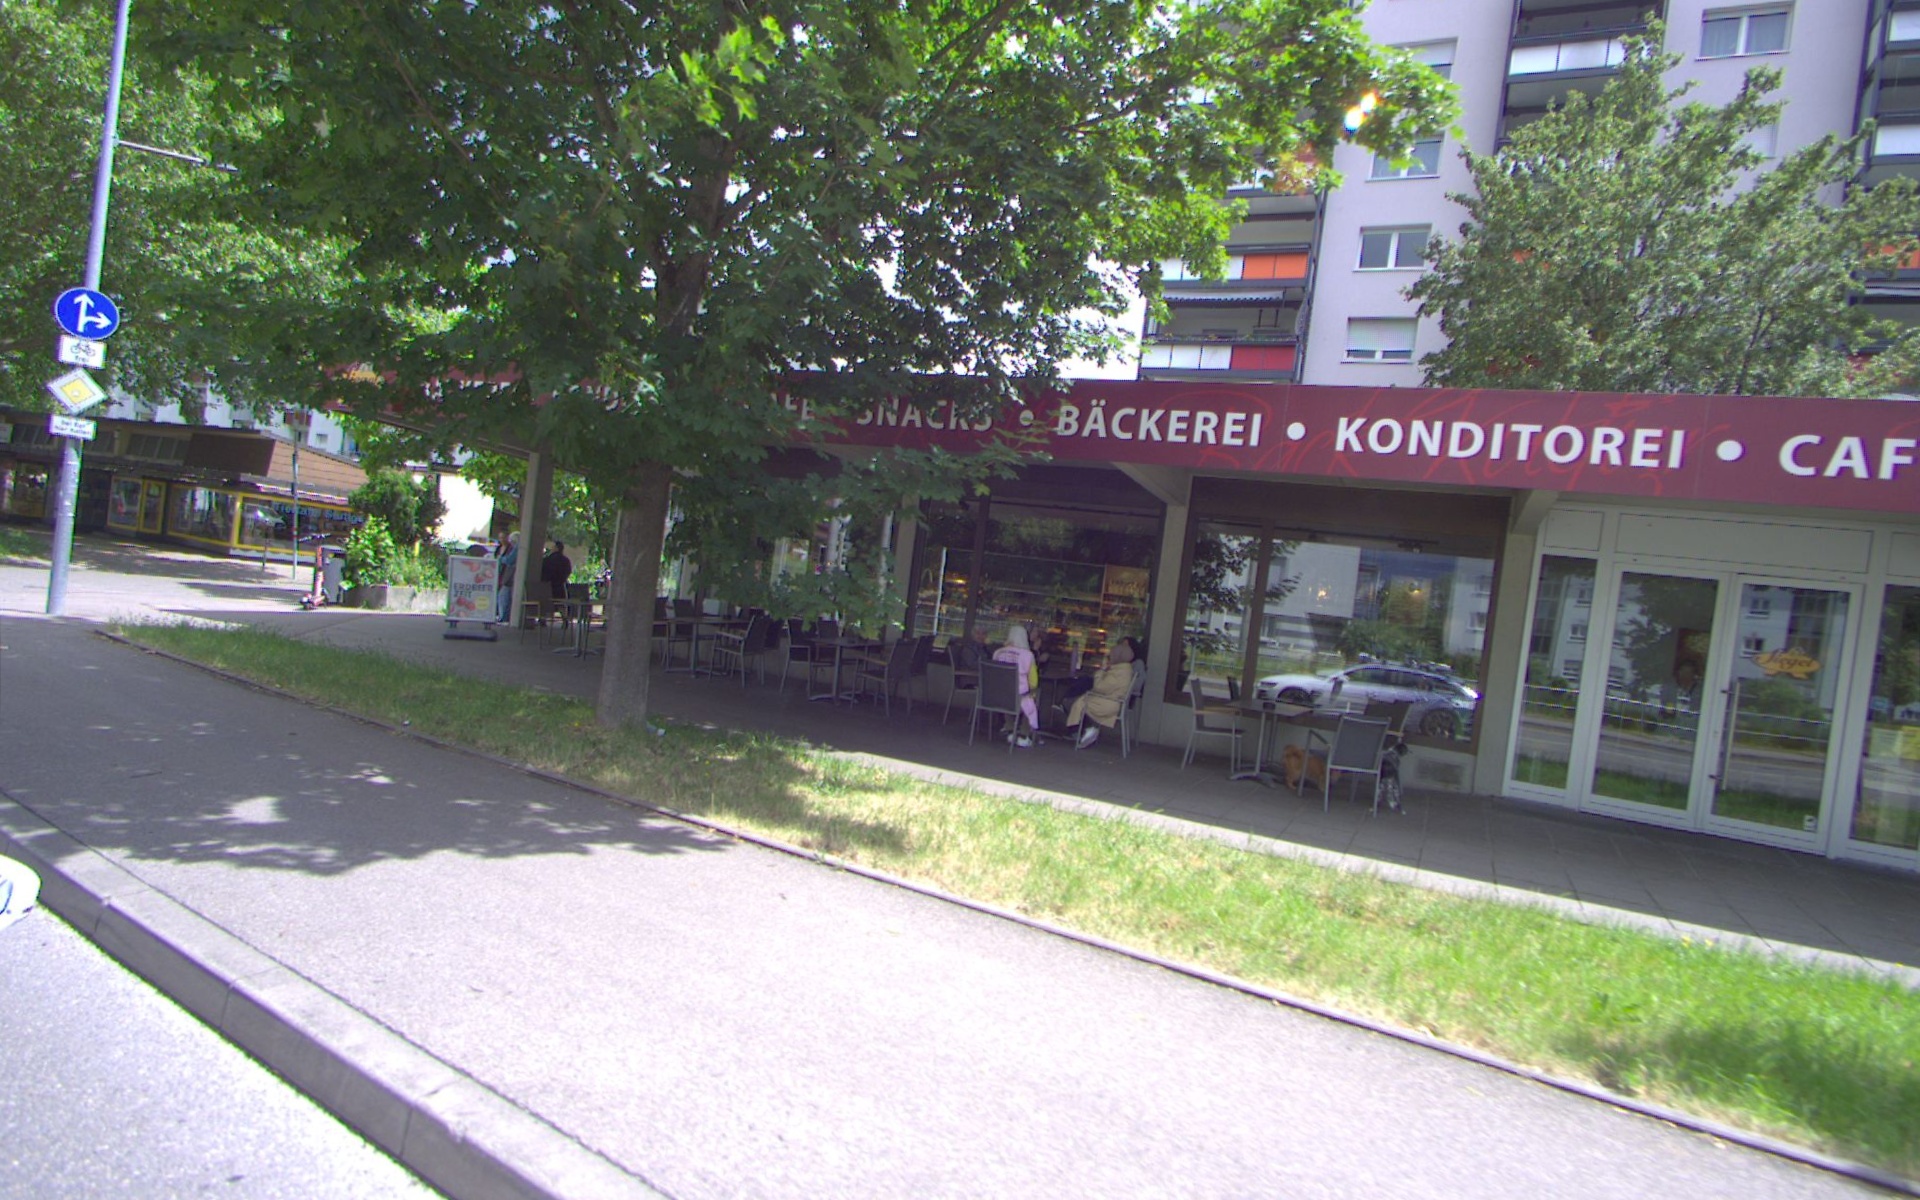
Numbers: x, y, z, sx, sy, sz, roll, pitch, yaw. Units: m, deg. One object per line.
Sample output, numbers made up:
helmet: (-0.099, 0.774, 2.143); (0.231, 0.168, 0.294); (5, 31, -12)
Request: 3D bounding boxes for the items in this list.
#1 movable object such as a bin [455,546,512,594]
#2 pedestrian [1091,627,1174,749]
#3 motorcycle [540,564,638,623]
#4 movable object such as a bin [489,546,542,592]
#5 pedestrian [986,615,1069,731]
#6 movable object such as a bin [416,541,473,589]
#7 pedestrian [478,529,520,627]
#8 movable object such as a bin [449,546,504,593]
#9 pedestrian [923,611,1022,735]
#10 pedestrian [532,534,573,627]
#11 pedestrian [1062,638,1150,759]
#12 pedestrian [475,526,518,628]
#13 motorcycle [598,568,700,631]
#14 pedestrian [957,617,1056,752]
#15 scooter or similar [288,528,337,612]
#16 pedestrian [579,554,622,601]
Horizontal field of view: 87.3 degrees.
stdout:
movable object such as a bin: (-16.188, -1.013, 34.176); (1.125, 1.431, 1.183); (9, 3, 31)
pedestrian: (1.972, 0.980, 11.469); (0.665, 1.283, 0.673); (6, 2, 25)
motorcycle: (-9.190, -0.158, 24.971); (2.104, 1.210, 0.738); (6, 1, -13)
movable object such as a bin: (-16.129, -1.111, 36.522); (1.125, 1.431, 1.183); (9, 3, 31)
pedestrian: (0.808, 0.850, 11.989); (0.662, 1.283, 0.676); (6, 2, 27)
movable object such as a bin: (-17.718, -1.202, 34.589); (1.192, 1.431, 1.177); (9, 3, 31)
pedestrian: (-8.002, -0.374, 17.462); (0.393, 1.652, 0.443); (6, 1, -6)
movable object such as a bin: (-17.130, -1.086, 35.668); (1.192, 1.431, 1.177); (9, 3, 31)
pedestrian: (0.147, 0.808, 11.463); (0.811, 1.283, 0.673); (6, 2, 25)
pedestrian: (-7.212, -0.338, 17.799); (0.504, 1.571, 0.530); (6, 1, -24)
pedestrian: (1.563, 1.026, 10.753); (0.665, 1.167, 0.673); (6, 2, 25)
pedestrian: (-7.832, -0.381, 17.001); (0.393, 1.652, 0.443); (6, 1, -6)
motorcycle: (-7.189, -0.011, 23.346); (2.103, 1.210, 0.738); (7, 1, -12)
pedestrian: (0.483, 0.860, 10.434); (0.664, 1.283, 0.674); (7, 3, 38)
scooter or similar: (-10.881, -0.506, 16.926); (0.372, 1.324, 1.225); (6, 0, -23)
pedestrian: (-13.305, -0.830, 37.254); (1.082, 1.494, 0.809); (11, 3, 30)
